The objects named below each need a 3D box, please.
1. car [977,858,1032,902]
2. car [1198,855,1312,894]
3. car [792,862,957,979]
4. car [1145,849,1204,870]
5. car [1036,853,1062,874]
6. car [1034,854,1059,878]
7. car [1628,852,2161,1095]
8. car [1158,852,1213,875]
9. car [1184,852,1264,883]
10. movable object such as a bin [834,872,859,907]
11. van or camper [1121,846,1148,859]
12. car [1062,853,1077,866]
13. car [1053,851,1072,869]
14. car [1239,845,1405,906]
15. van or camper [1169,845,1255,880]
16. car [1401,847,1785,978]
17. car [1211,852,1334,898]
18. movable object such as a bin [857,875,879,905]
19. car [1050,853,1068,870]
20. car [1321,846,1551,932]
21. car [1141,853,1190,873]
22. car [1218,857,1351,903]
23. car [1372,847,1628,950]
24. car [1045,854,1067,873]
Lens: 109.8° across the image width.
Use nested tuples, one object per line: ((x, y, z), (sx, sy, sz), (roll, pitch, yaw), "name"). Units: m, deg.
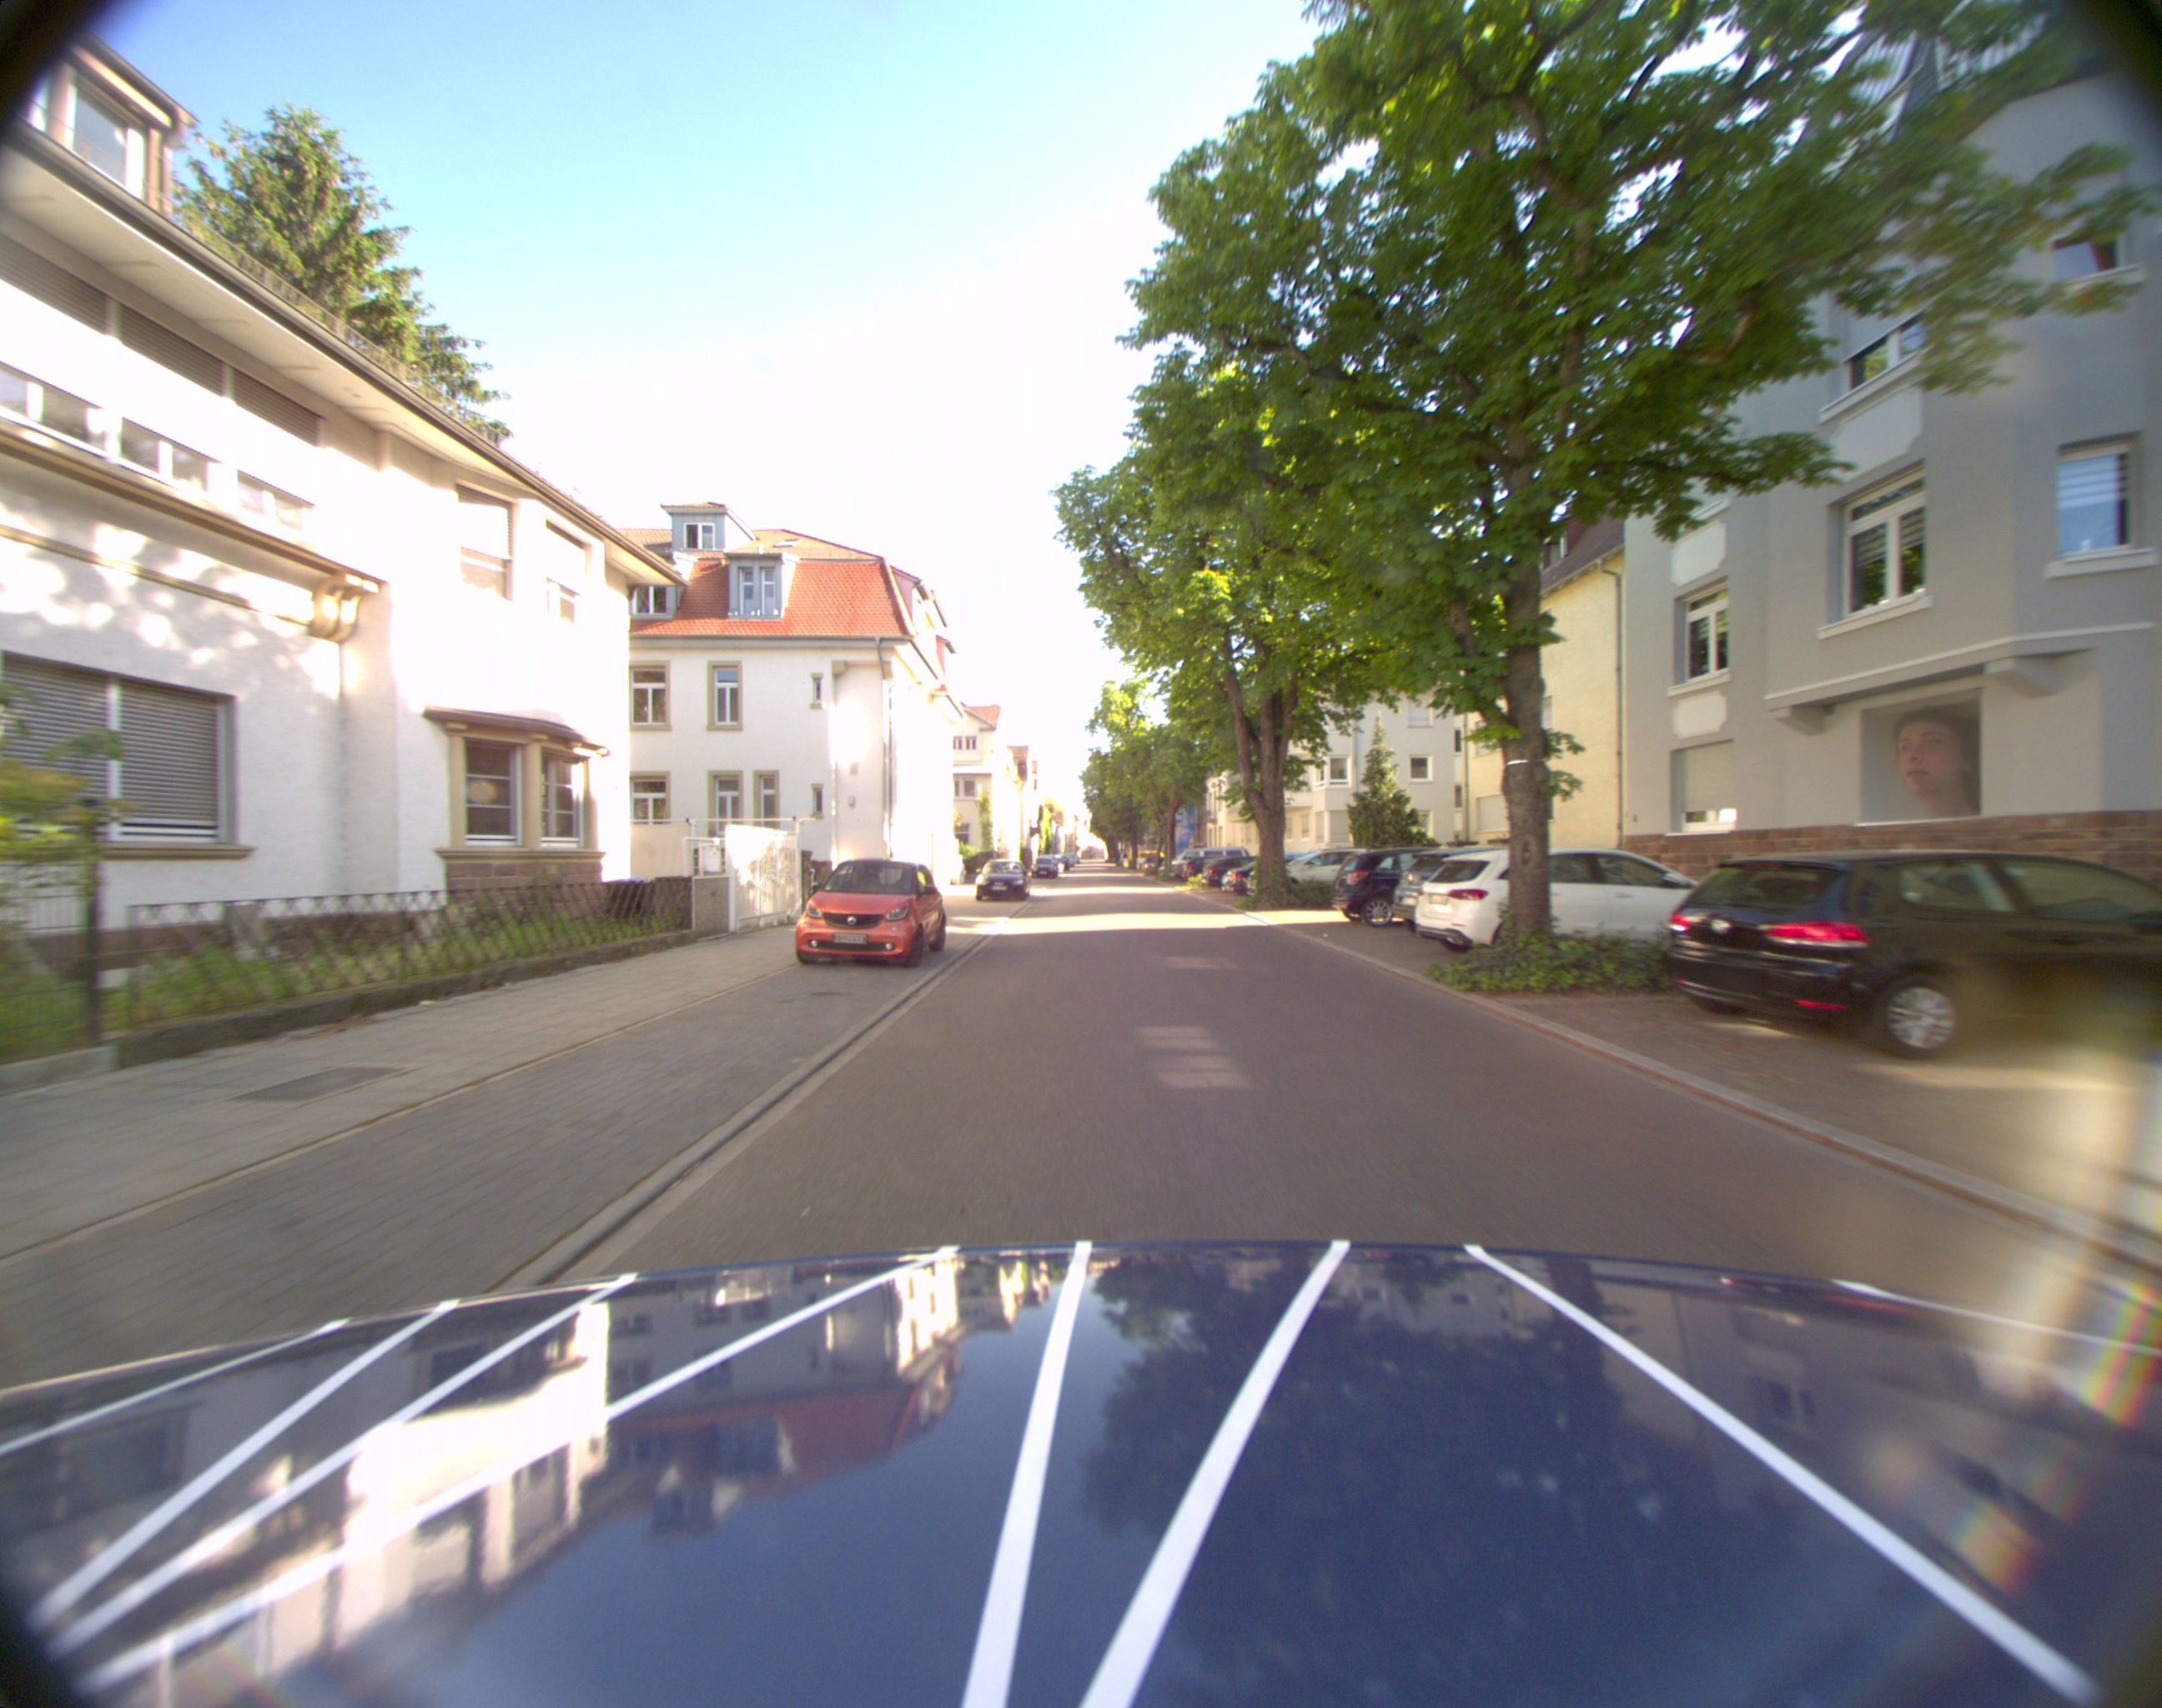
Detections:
((-2.719, 0.894, 27.739), (1.624, 1.431, 3.934), (2, 0, -1), "car")
((6.972, 0.798, 30.738), (4.197, 1.490, 1.861), (0, 0, 0), "car")
((-3.024, 0.910, 11.767), (1.596, 1.472, 3.247), (2, 0, 1), "car")
((7.739, 0.437, 62.886), (4.601, 1.598, 1.832), (-1, 0, -2), "car")
((-2.454, 0.706, 59.118), (1.796, 1.511, 4.366), (1, 1, 0), "car")
((-2.448, 0.819, 53.791), (1.667, 1.511, 4.000), (1, 1, -2), "car")
((7.007, 0.801, 6.034), (4.033, 1.436, 1.799), (-2, 1, -1), "car")
((7.251, 0.663, 53.108), (3.652, 1.454, 1.710), (-2, 1, 3), "car")
((7.498, 0.688, 40.102), (3.954, 1.490, 1.662), (-2, 0, 3), "car")
((-7.587, 1.134, 24.599), (0.557, 1.056, 0.696), (-3, 2, -3), "movable object such as a bin")
((7.951, -0.222, 113.640), (3.954, 1.763, 1.809), (-1, -1, 0), "van or camper")
((-1.503, 0.693, 102.035), (1.872, 1.635, 4.199), (0, 0, 1), "car")
((-1.968, 0.616, 82.252), (1.782, 1.686, 4.319), (-2, 1, 1), "car")
((7.132, 0.614, 22.828), (4.397, 1.642, 1.823), (-1, 0, 2), "car")
((7.335, 0.469, 42.902), (4.508, 1.903, 1.964), (-1, 1, 1), "van or camper")
((6.828, 0.739, 10.474), (4.033, 1.476, 1.807), (-2, 0, 0), "car")
((6.887, 0.725, 27.616), (3.997, 1.583, 1.878), (0, 0, -1), "car")
((-6.907, 1.157, 24.664), (0.487, 0.931, 0.653), (-3, 2, -3), "movable object such as a bin")
((-2.208, 0.728, 77.102), (1.629, 1.540, 2.869), (-1, 1, 0), "car")
((7.203, 0.682, 15.752), (3.872, 1.566, 1.848), (-2, 0, 4), "car")
((7.424, 0.765, 66.959), (3.883, 1.505, 1.831), (-3, 1, -8), "car")
((6.749, 0.842, 25.434), (3.997, 1.460, 1.697), (0, 0, 0), "car")
((7.264, 0.720, 13.388), (3.525, 1.566, 1.770), (-2, 0, -4), "car")
((-2.132, 0.810, 65.782), (1.713, 1.428, 4.192), (2, 1, 0), "car")
